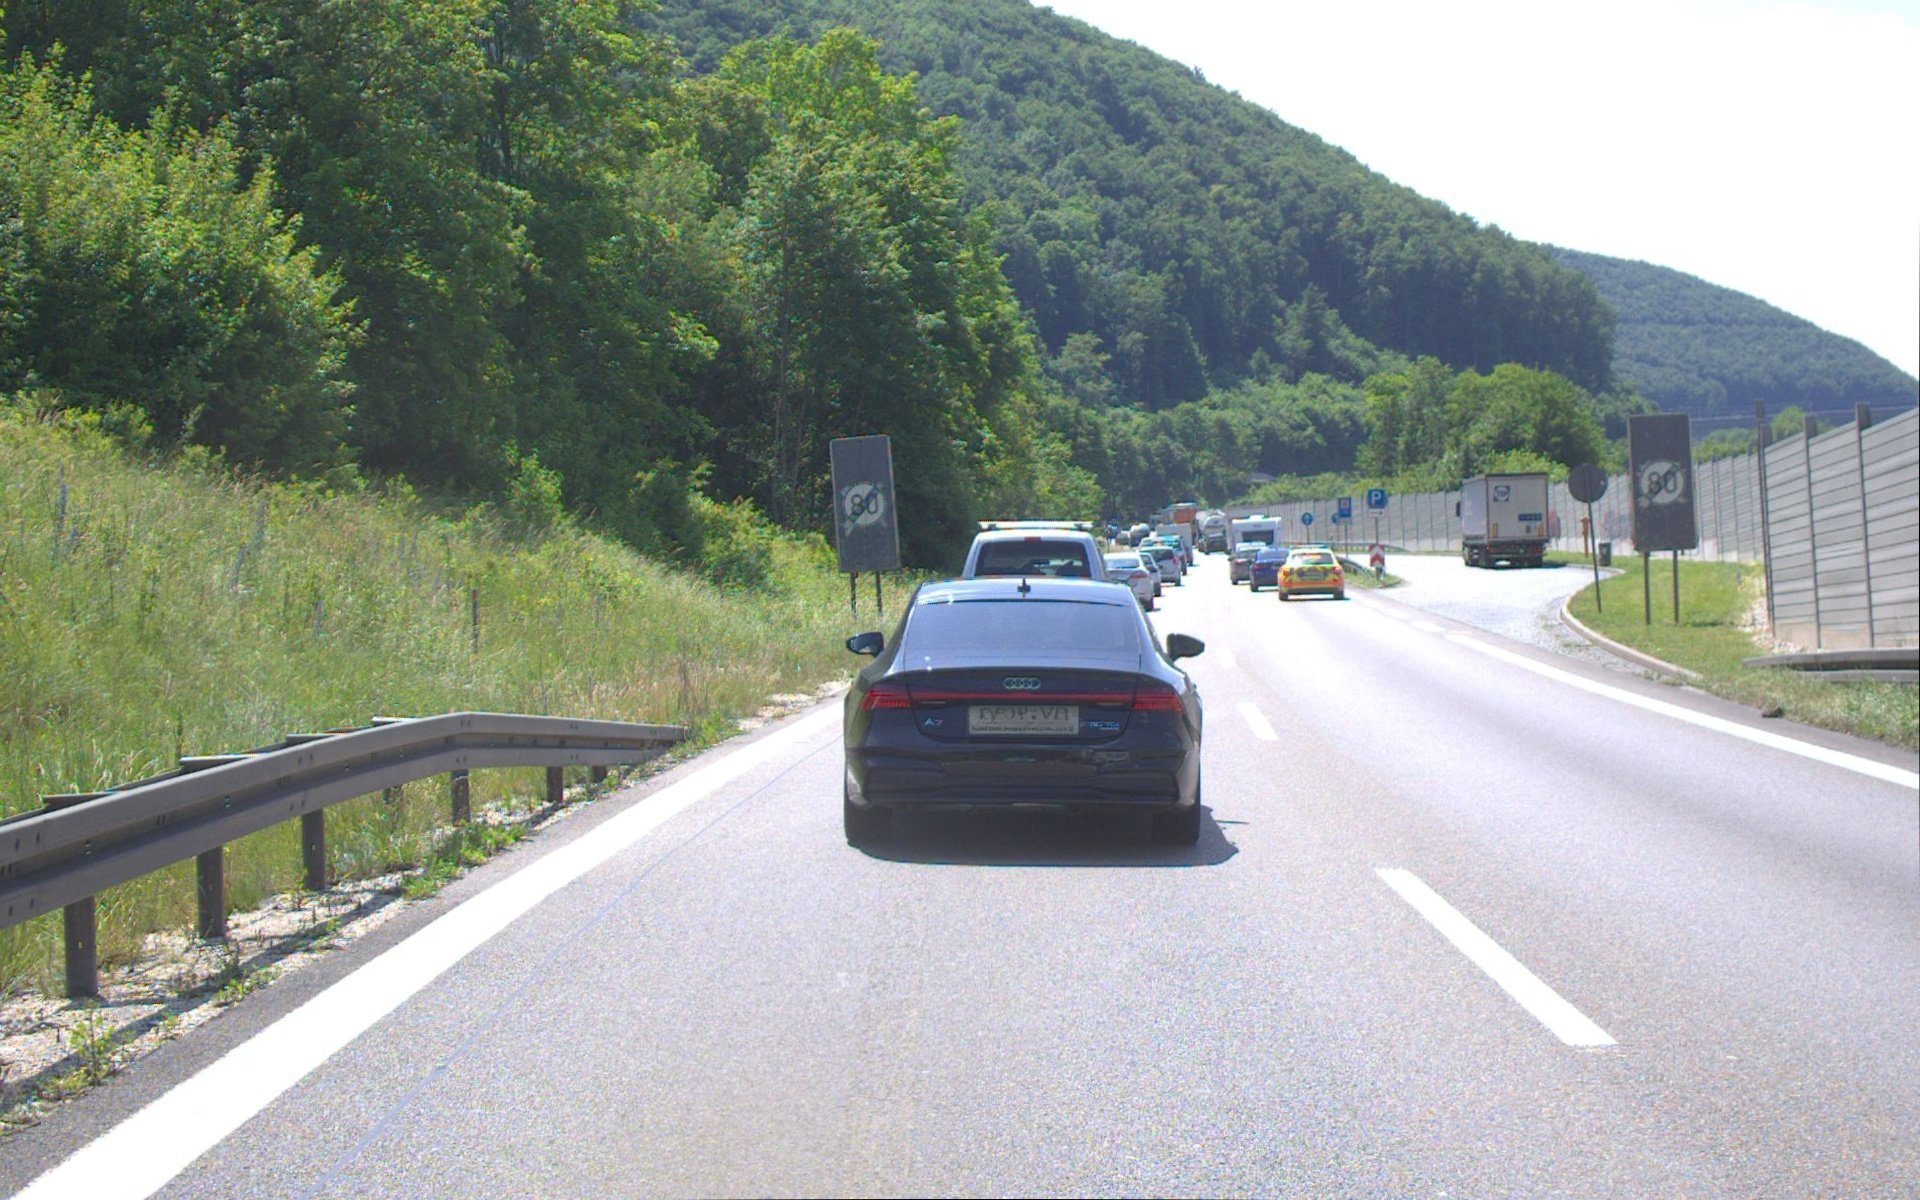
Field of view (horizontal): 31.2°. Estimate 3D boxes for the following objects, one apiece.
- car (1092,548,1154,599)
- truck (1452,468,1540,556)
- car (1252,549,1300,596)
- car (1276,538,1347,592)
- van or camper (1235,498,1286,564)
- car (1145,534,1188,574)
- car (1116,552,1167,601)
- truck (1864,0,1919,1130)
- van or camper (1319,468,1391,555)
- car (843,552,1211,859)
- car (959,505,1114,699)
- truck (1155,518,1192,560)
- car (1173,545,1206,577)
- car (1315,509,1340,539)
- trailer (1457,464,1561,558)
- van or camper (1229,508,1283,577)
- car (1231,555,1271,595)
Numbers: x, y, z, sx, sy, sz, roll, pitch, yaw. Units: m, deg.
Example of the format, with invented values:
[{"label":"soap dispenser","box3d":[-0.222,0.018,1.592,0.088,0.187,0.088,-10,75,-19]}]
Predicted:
[{"label":"car","box3d":[4.202,-0.691,88.759,1.521,1.290,3.514,1,1,2]},{"label":"truck","box3d":[24.056,-3.935,154.476,3.412,3.887,5.387,-1,1,4]},{"label":"car","box3d":[10.493,-0.899,114.366,1.530,1.520,3.596,1,0,4]},{"label":"car","box3d":[9.968,-1.003,97.721,1.879,1.493,3.999,-1,1,5]},{"label":"van or camper","box3d":[18.346,-4.199,210.077,2.795,3.894,6.166,1,0,2]},{"label":"car","box3d":[8.250,-1.829,137.117,1.521,1.547,3.513,2,1,6]},{"label":"car","box3d":[5.953,-0.768,112.680,1.521,1.547,3.514,2,1,5]},{"label":"truck","box3d":[4.039,-0.589,6.931,2.719,4.054,5.755,0,0,-2]},{"label":"van or camper","box3d":[18.135,-4.030,158.107,2.795,3.828,6.166,1,0,2]},{"label":"car","box3d":[0.343,0.501,18.813,1.812,1.509,3.514,0,1,0]},{"label":"car","box3d":[0.868,0.004,37.234,1.521,1.961,3.514,2,1,3]},{"label":"truck","box3d":[13.719,-3.890,220.650,2.065,2.597,5.613,2,1,6]},{"label":"car","box3d":[11.590,-1.977,173.665,1.521,1.547,3.513,2,1,6]},{"label":"car","box3d":[25.336,-5.256,237.273,1.576,2.007,3.427,-1,1,5]},{"label":"trailer","box3d":[23.608,-3.801,148.269,3.412,3.887,11.150,-1,1,4]},{"label":"van or camper","box3d":[13.969,-2.681,162.498,2.430,3.144,5.202,1,0,4]},{"label":"car","box3d":[11.398,-0.964,134.756,1.530,1.520,3.596,1,0,4]}]
